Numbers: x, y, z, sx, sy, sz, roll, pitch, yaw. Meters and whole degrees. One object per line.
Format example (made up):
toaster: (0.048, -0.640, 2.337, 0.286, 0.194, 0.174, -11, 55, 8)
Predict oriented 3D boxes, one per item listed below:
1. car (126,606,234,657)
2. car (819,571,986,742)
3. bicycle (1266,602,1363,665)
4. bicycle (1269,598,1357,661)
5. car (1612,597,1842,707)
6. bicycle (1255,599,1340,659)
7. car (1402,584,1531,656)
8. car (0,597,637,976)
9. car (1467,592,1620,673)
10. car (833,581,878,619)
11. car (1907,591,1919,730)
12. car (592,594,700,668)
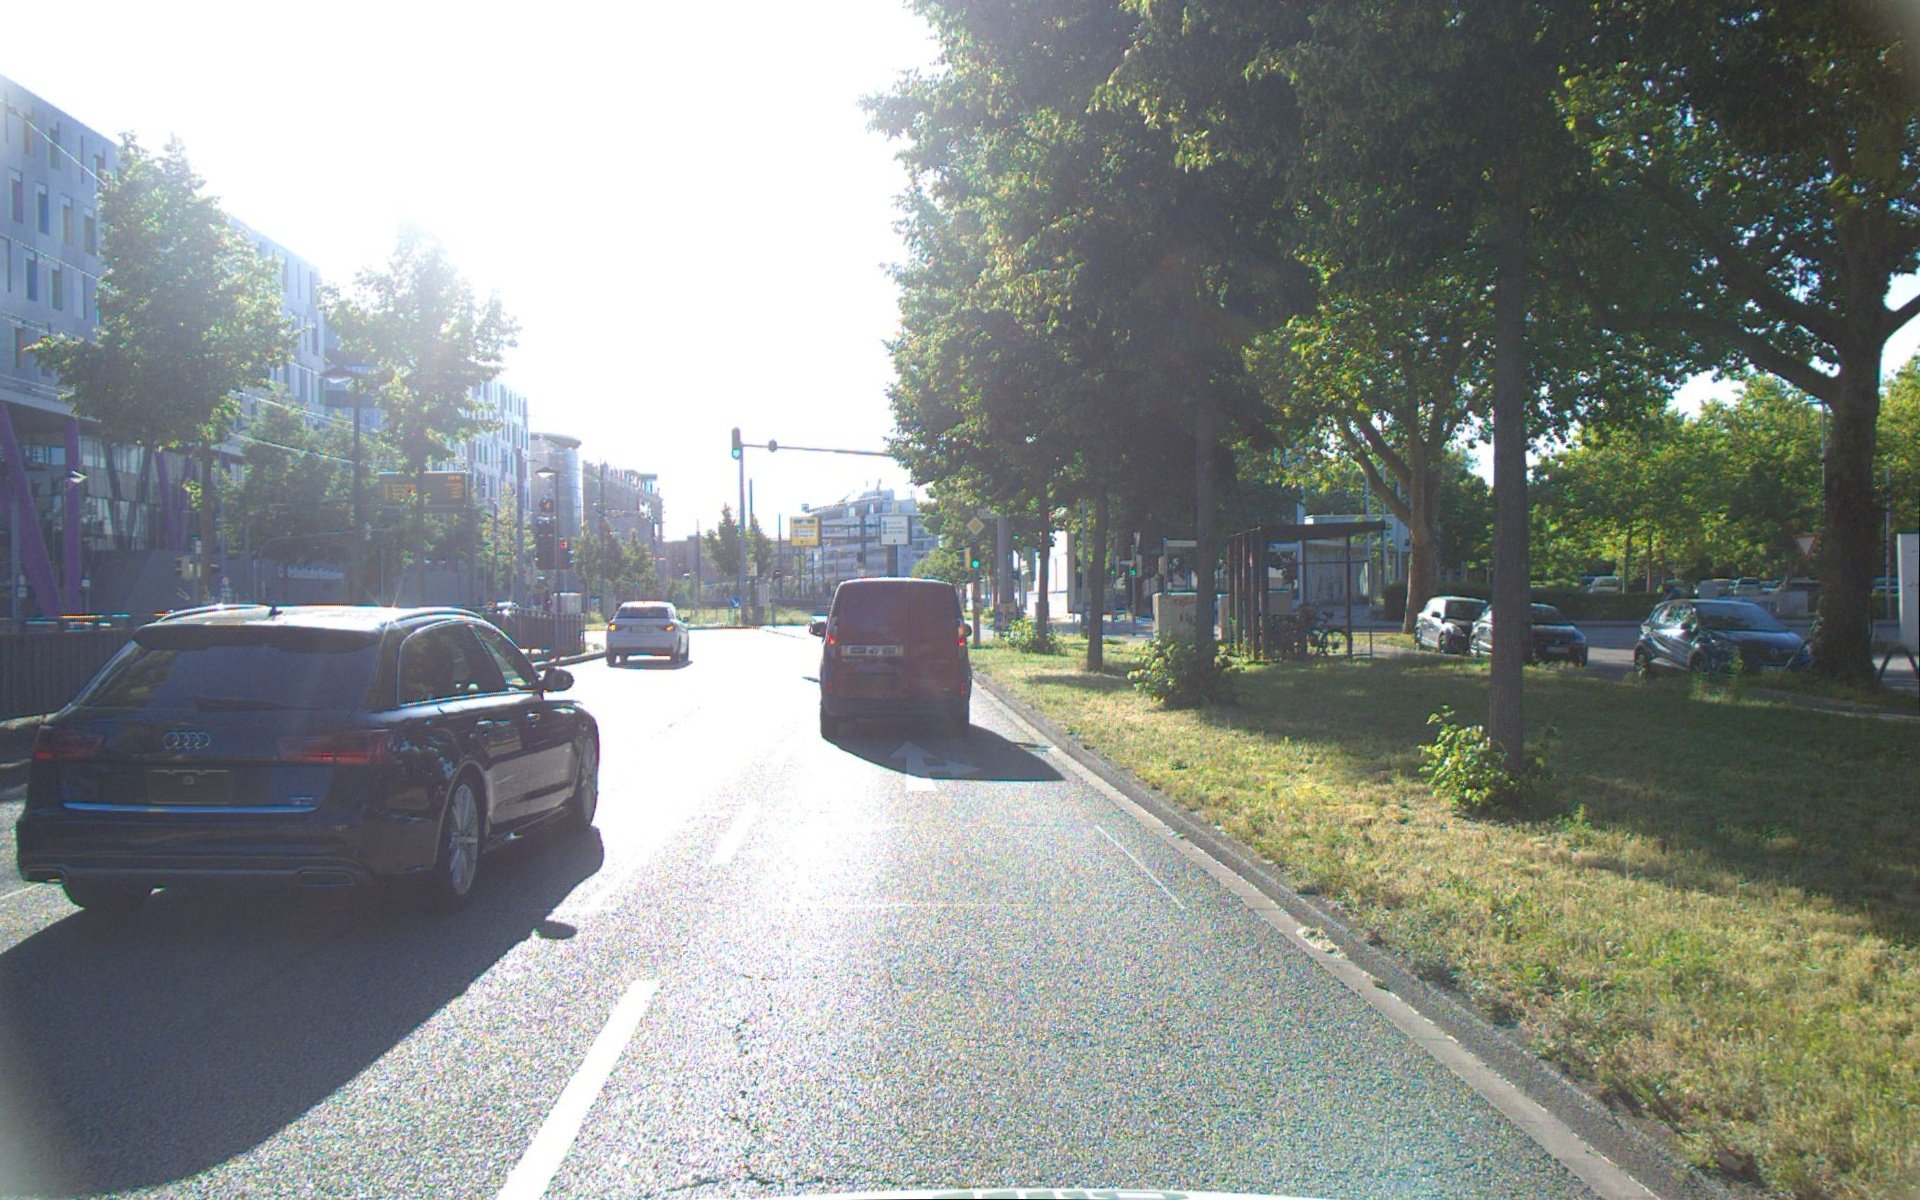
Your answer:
car: (-28.746, 1.143, 61.099, 1.952, 1.795, 4.000, 1, -1, 1)
car: (-0.796, 0.651, 20.270, 1.773, 1.870, 3.995, 1, -1, -6)
bicycle: (7.275, 0.685, 33.974, 1.879, 1.290, 0.479, 0, 0, -2)
bicycle: (7.439, 0.629, 34.868, 1.743, 1.290, 0.479, 1, -1, -2)
car: (12.859, 0.844, 28.011, 1.834, 1.713, 3.997, 1, -1, -4)
bicycle: (7.339, 0.636, 36.014, 1.743, 1.290, 0.479, 0, 0, -2)
car: (12.741, 0.509, 41.872, 1.834, 1.713, 3.997, 1, -1, -4)
car: (-3.219, 0.753, 9.181, 1.913, 1.506, 5.083, 1, 0, -1)
car: (13.119, 0.722, 37.418, 1.834, 1.713, 3.997, 1, -1, -4)
car: (-5.690, 0.005, 90.560, 2.224, 2.049, 4.708, 0, 0, -2)
car: (12.838, 0.704, 18.635, 1.834, 1.713, 3.997, -2, -1, -4)
car: (-7.471, 0.730, 39.699, 1.954, 1.646, 3.998, 1, -1, -3)
